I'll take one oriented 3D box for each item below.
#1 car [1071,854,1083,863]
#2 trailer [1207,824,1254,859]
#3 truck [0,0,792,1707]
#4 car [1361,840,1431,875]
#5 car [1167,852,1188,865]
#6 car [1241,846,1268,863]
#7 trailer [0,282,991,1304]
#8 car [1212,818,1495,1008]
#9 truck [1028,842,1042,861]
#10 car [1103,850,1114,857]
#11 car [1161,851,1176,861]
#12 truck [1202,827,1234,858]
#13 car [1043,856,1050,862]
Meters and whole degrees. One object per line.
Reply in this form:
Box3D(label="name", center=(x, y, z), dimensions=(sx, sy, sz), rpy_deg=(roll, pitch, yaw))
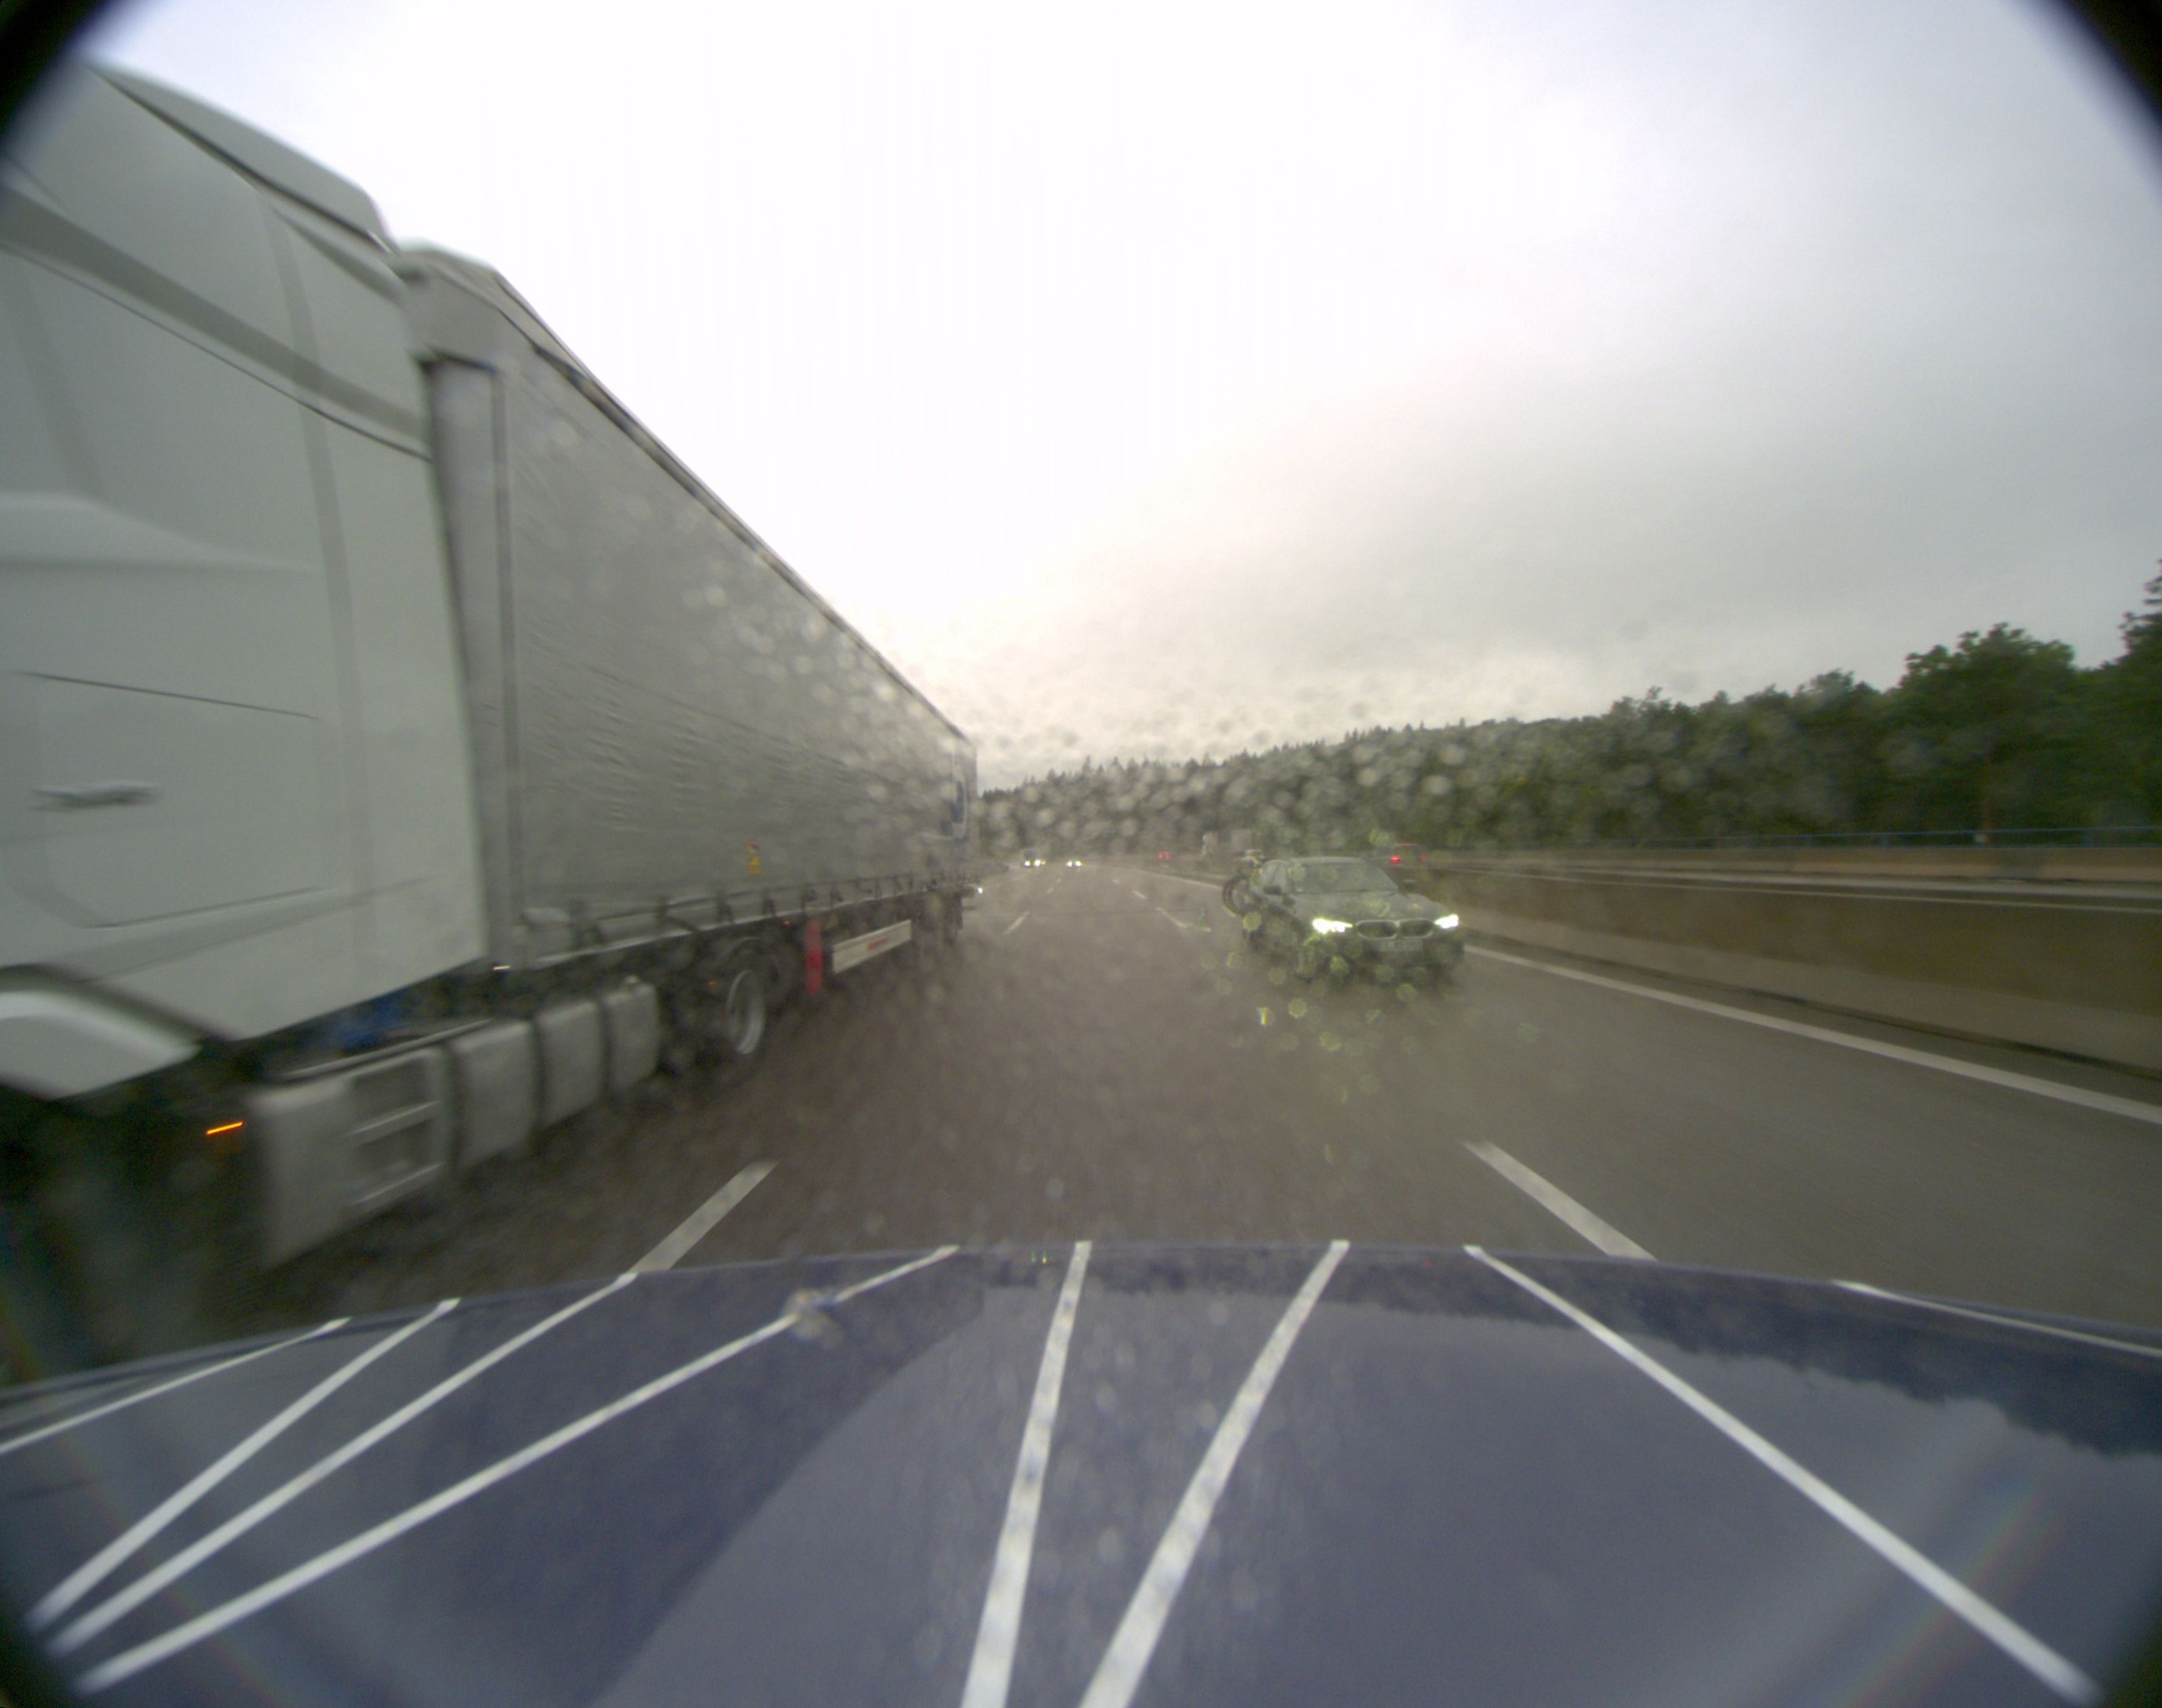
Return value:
Box3D(label="car", center=(-0.615, 0.707, 118.061), dimensions=(1.717, 1.399, 4.935), rpy_deg=(-1, 0, -1))
Box3D(label="trailer", center=(18.781, -1.493, 96.391), dimensions=(2.954, 4.009, 13.785), rpy_deg=(-2, 0, -1))
Box3D(label="truck", center=(-3.581, -0.253, 2.659), dimensions=(2.728, 4.017, 5.752), rpy_deg=(-2, 0, 1))
Box3D(label="car", center=(15.601, 0.140, 37.892), dimensions=(1.709, 1.569, 4.267), rpy_deg=(-2, 0, 1))
Box3D(label="car", center=(11.895, 0.532, 93.816), dimensions=(1.890, 1.539, 4.777), rpy_deg=(-2, 0, 0))
Box3D(label="car", center=(15.952, 0.026, 69.902), dimensions=(1.661, 1.512, 3.638), rpy_deg=(-2, 0, 0))
Box3D(label="trailer", center=(-3.488, -0.243, 9.912), dimensions=(2.686, 4.017, 13.704), rpy_deg=(-2, 0, 1))
Box3D(label="car", center=(3.409, 0.612, 11.109), dimensions=(1.912, 1.933, 6.162), rpy_deg=(-2, 0, 0))
Box3D(label="truck", center=(-10.014, -0.472, 165.254), dimensions=(2.739, 4.127, 8.617), rpy_deg=(-1, 0, -6))
Box3D(label="car", center=(6.542, -0.071, 182.334), dimensions=(1.999, 1.539, 4.216), rpy_deg=(-2, 0, -4))
Box3D(label="car", center=(13.246, 0.289, 115.091), dimensions=(1.788, 1.539, 3.886), rpy_deg=(-2, 0, 0))
Box3D(label="truck", center=(18.610, -1.531, 103.436), dimensions=(2.954, 4.009, 6.380), rpy_deg=(-2, 0, -1))
Box3D(label="car", center=(-8.144, 1.216, 180.180), dimensions=(1.717, 1.399, 4.934), rpy_deg=(-1, 0, -2))
